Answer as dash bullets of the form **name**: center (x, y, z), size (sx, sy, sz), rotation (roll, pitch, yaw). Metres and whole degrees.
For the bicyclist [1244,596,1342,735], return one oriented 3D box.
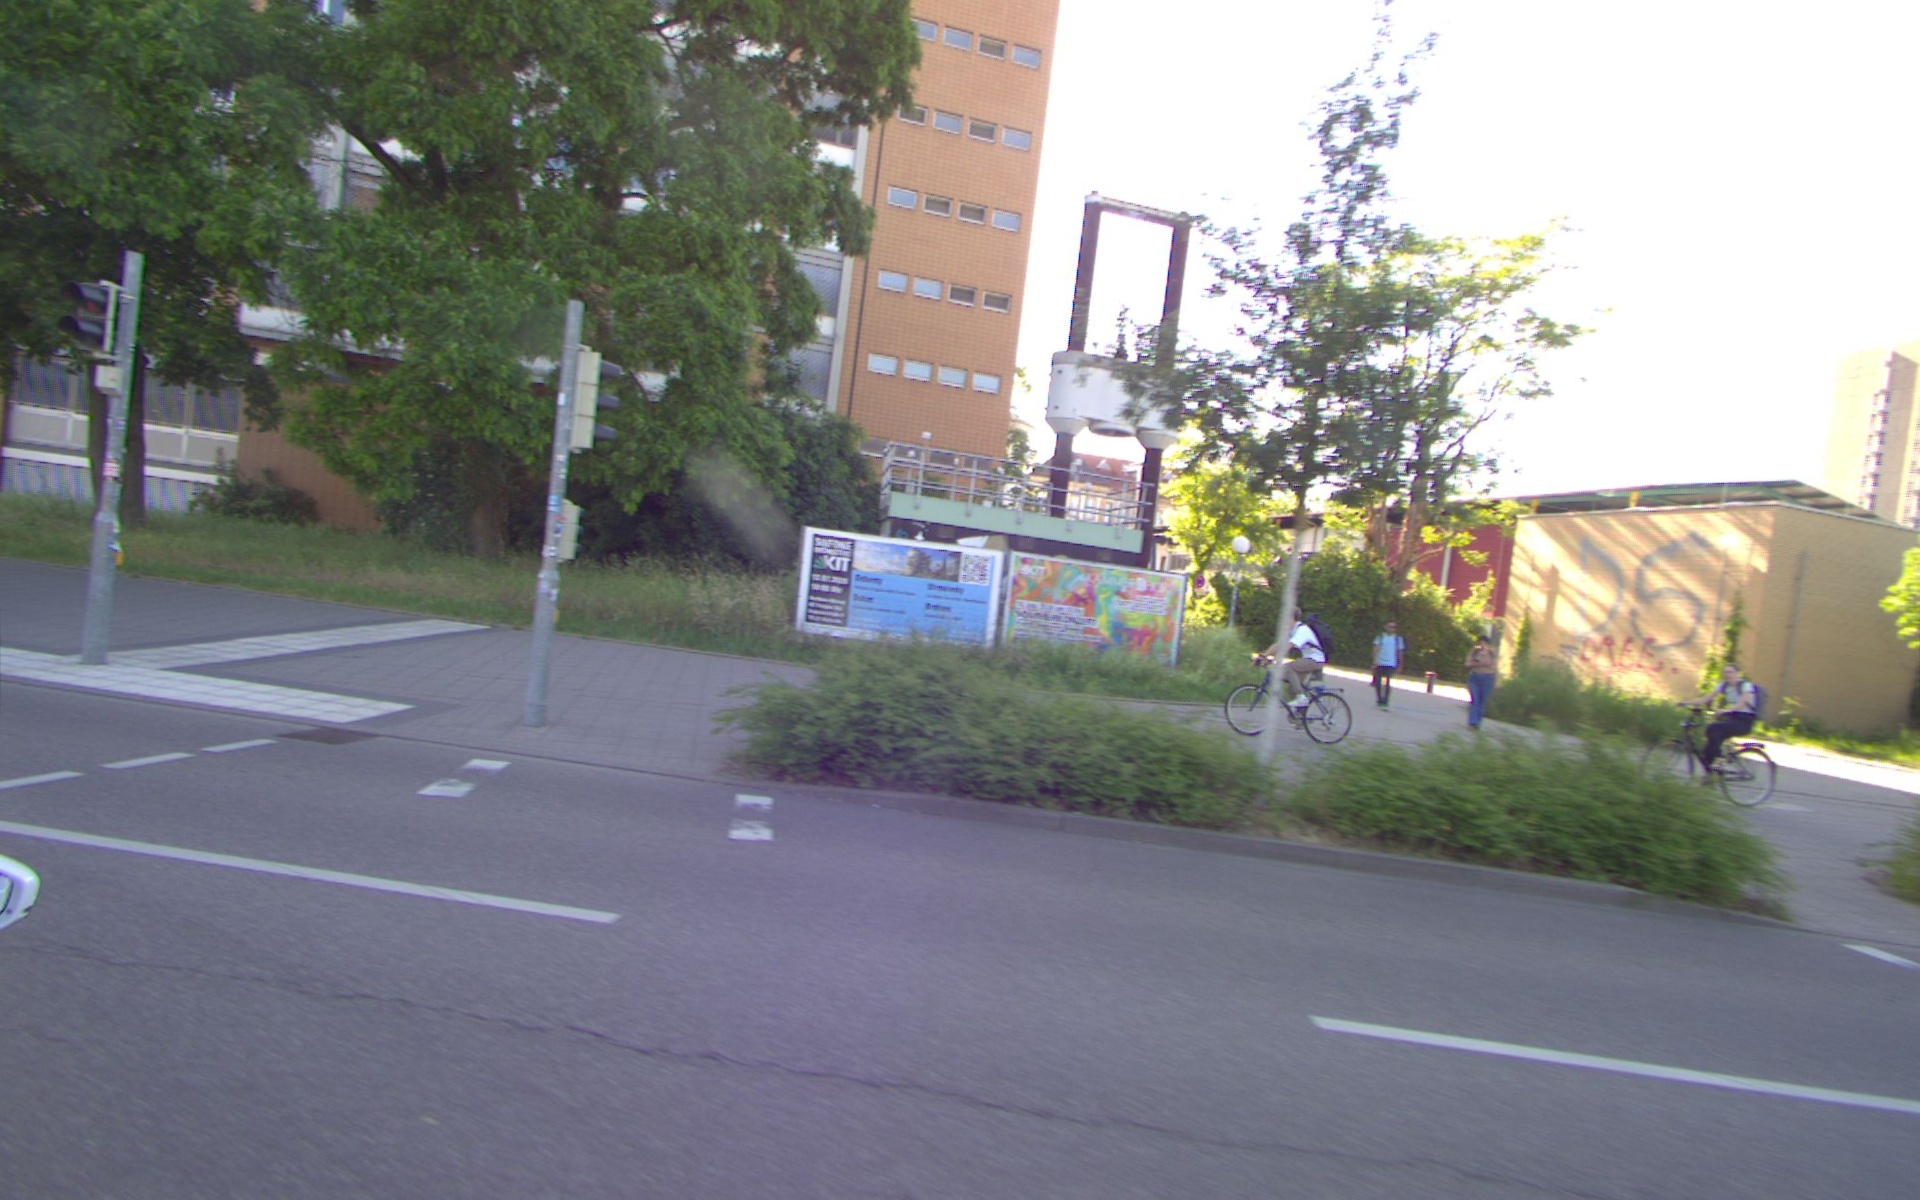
- **bicyclist**: center (4.211, 0.818, 12.777), size (0.817, 1.618, 0.630), rotation (6, 5, -1)

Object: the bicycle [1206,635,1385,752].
- **bicycle**: center (4.243, 1.174, 12.808), size (1.921, 1.181, 0.642), rotation (7, 4, 0)

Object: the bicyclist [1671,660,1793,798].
- **bicyclist**: center (9.189, 1.523, 12.008), size (0.762, 1.464, 0.643), rotation (7, 3, 7)

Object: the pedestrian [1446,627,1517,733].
- **pedestrian**: center (8.840, 1.339, 17.081), size (0.665, 1.663, 0.736), rotation (9, 1, 14)

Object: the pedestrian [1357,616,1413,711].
- **pedestrian**: center (7.938, 1.181, 18.829), size (0.665, 1.663, 0.736), rotation (10, 1, 20)

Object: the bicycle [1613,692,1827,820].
- **bicycle**: center (9.053, 1.841, 12.044), size (1.834, 1.181, 0.642), rotation (7, 3, 7)
